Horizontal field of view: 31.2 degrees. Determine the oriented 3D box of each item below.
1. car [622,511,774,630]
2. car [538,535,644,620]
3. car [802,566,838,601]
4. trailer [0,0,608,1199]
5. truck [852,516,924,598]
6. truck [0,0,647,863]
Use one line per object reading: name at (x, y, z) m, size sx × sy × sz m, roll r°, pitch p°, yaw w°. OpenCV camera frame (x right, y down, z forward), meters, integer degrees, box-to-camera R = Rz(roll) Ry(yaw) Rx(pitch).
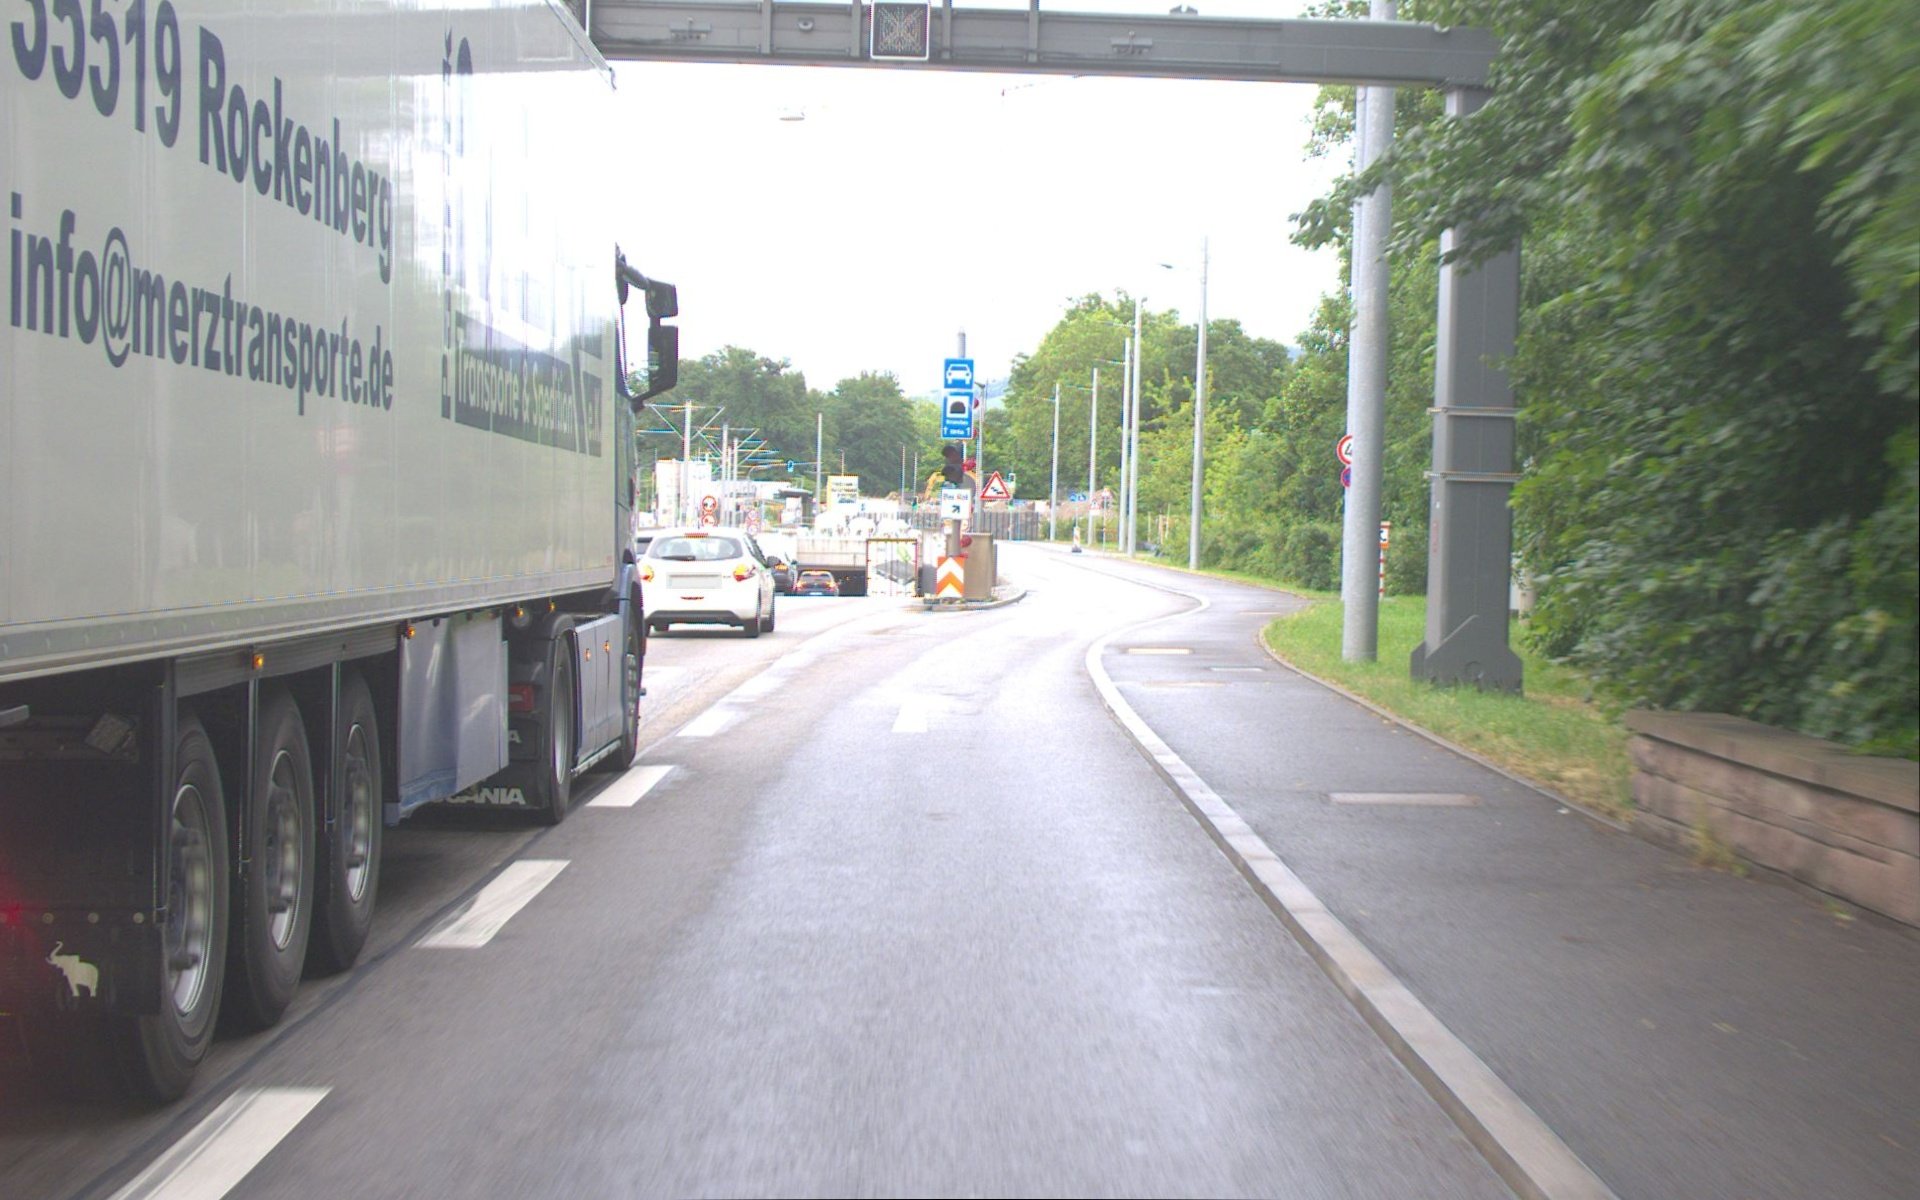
car at (-3.519, -0.440, 46.677) m, size 1.810 × 1.419 × 4.001 m, roll 1°, pitch 3°, yaw -1°
car at (-7.124, -0.462, 66.733) m, size 1.681 × 1.441 × 4.001 m, roll 1°, pitch 3°, yaw -1°
car at (-5.808, -0.693, 142.741) m, size 1.426 × 1.349 × 2.960 m, roll 1°, pitch 1°, yaw -1°
trailer at (-3.247, -0.853, 12.073) m, size 2.762 × 4.238 × 13.184 m, roll 0°, pitch 2°, yaw 0°
truck at (-3.639, -2.218, 174.981) m, size 3.518 × 4.026 × 8.075 m, roll 1°, pitch 1°, yaw -1°
truck at (-3.288, -1.031, 18.124) m, size 2.756 × 4.190 × 6.307 m, roll 0°, pitch 1°, yaw -1°
